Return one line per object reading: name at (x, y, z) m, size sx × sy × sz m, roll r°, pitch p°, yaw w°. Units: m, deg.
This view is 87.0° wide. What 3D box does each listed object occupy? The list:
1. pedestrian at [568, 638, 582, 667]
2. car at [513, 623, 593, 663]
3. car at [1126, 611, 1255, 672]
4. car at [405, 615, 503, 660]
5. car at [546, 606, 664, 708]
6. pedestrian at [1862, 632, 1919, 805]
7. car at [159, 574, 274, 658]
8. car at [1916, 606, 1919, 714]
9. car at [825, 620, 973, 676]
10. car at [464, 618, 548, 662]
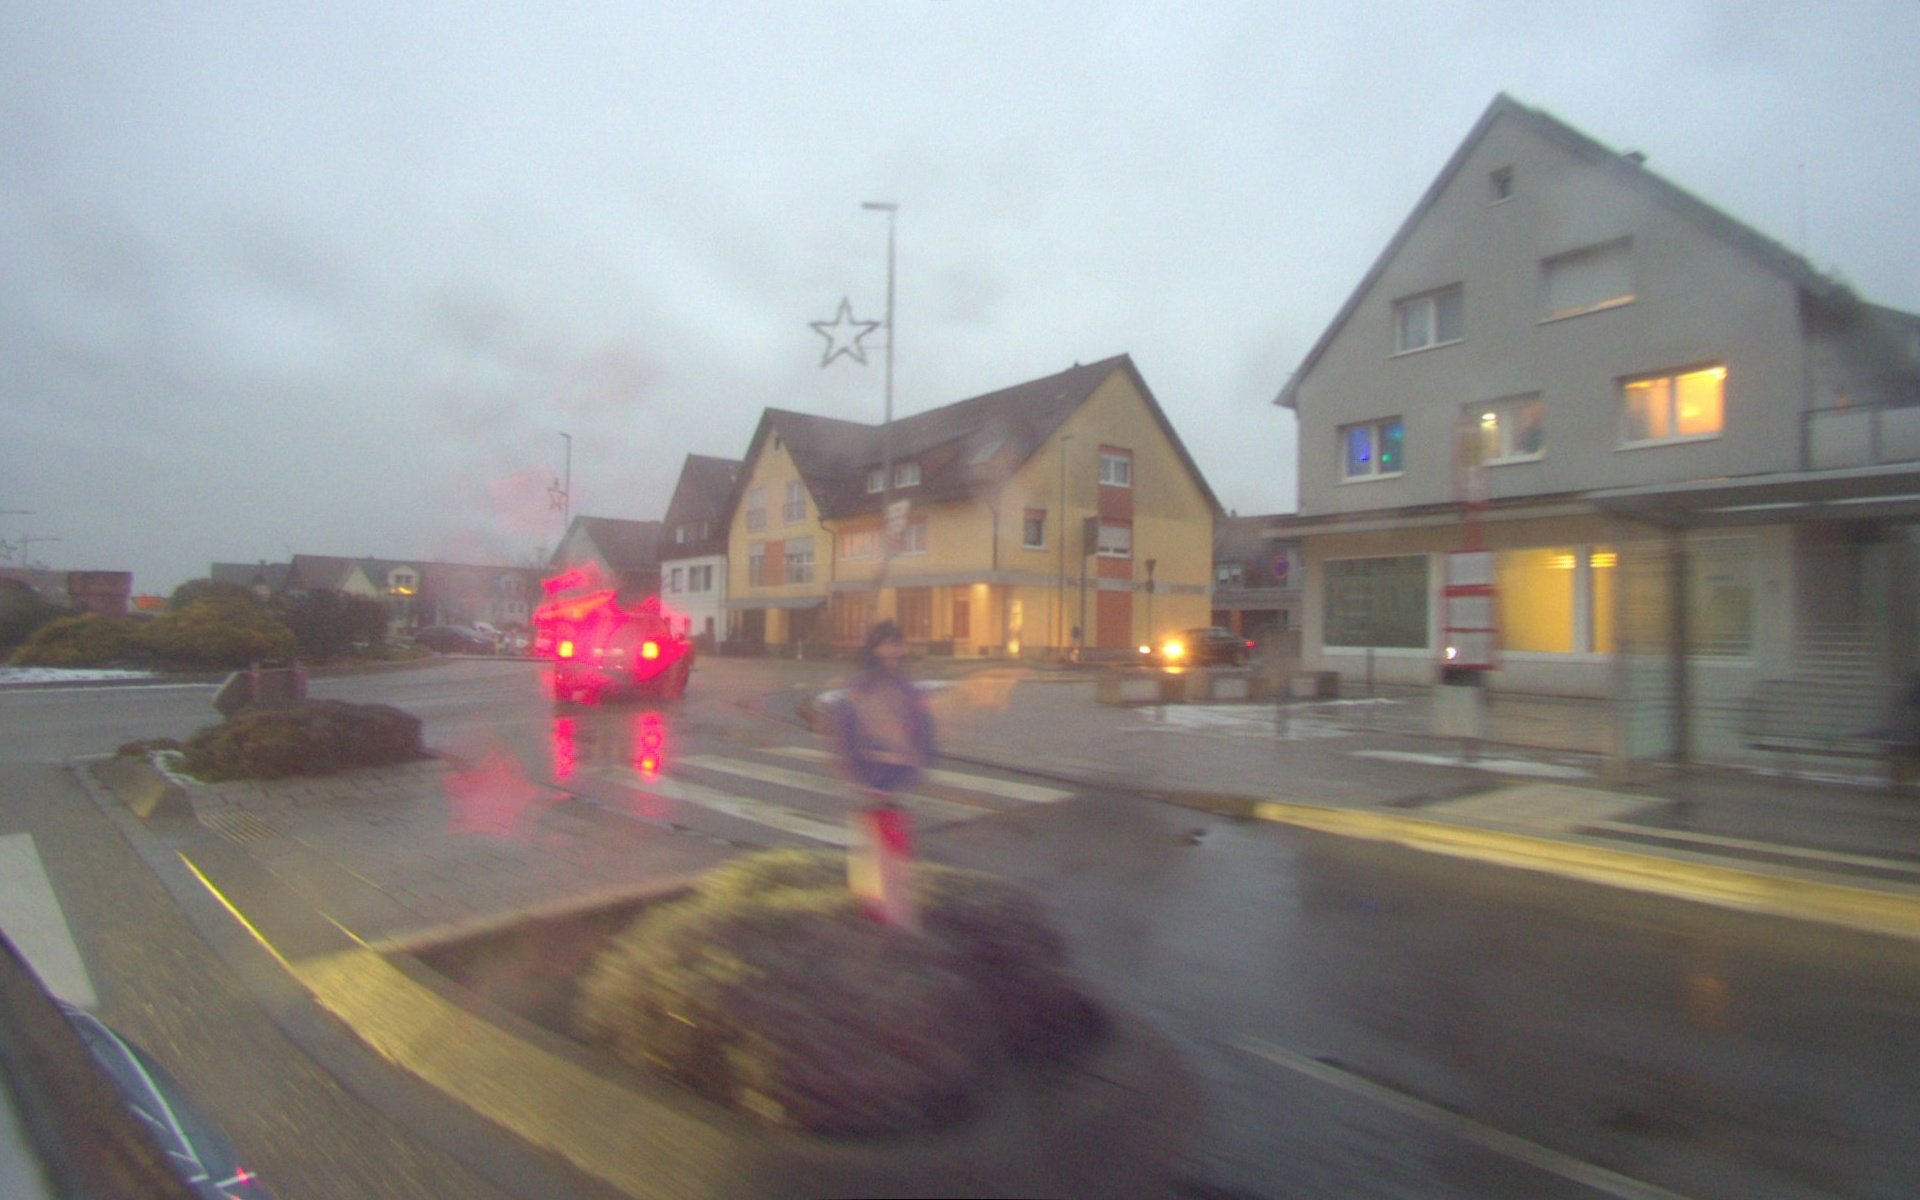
pedestrian at (-22.137, 2.996, 58.208) m, size 0.574 × 1.623 × 0.500 m, roll 0°, pitch 1°, yaw -44°
car at (-21.568, 2.261, 53.657) m, size 3.854 × 1.895 × 1.917 m, roll 1°, pitch 1°, yaw 28°
car at (8.372, 1.446, 36.691) m, size 4.389 × 2.029 × 2.006 m, roll 0°, pitch 1°, yaw -32°
car at (-24.517, 1.787, 49.083) m, size 3.963 × 2.010 × 1.962 m, roll 1°, pitch 1°, yaw 15°
car at (-5.978, 0.868, 17.119) m, size 1.678 × 1.514 × 3.911 m, roll 0°, pitch -1°, yaw -19°
pedestrian at (7.062, 0.812, 7.096) m, size 0.976 × 1.167 × 0.903 m, roll 0°, pitch -3°, yaw -39°
car at (-19.470, 0.342, 26.698) m, size 2.024 × 2.002 × 4.551 m, roll 0°, pitch 1°, yaw -31°
car at (18.265, 1.066, 17.955) m, size 3.373 × 1.867 × 1.516 m, roll 2°, pitch -2°, yaw -40°
car at (-1.947, 1.474, 31.839) m, size 4.299 × 1.617 × 1.895 m, roll 1°, pitch 1°, yaw -17°
car at (-23.091, 1.996, 51.482) m, size 3.954 × 2.029 × 1.908 m, roll 1°, pitch 1°, yaw 28°
